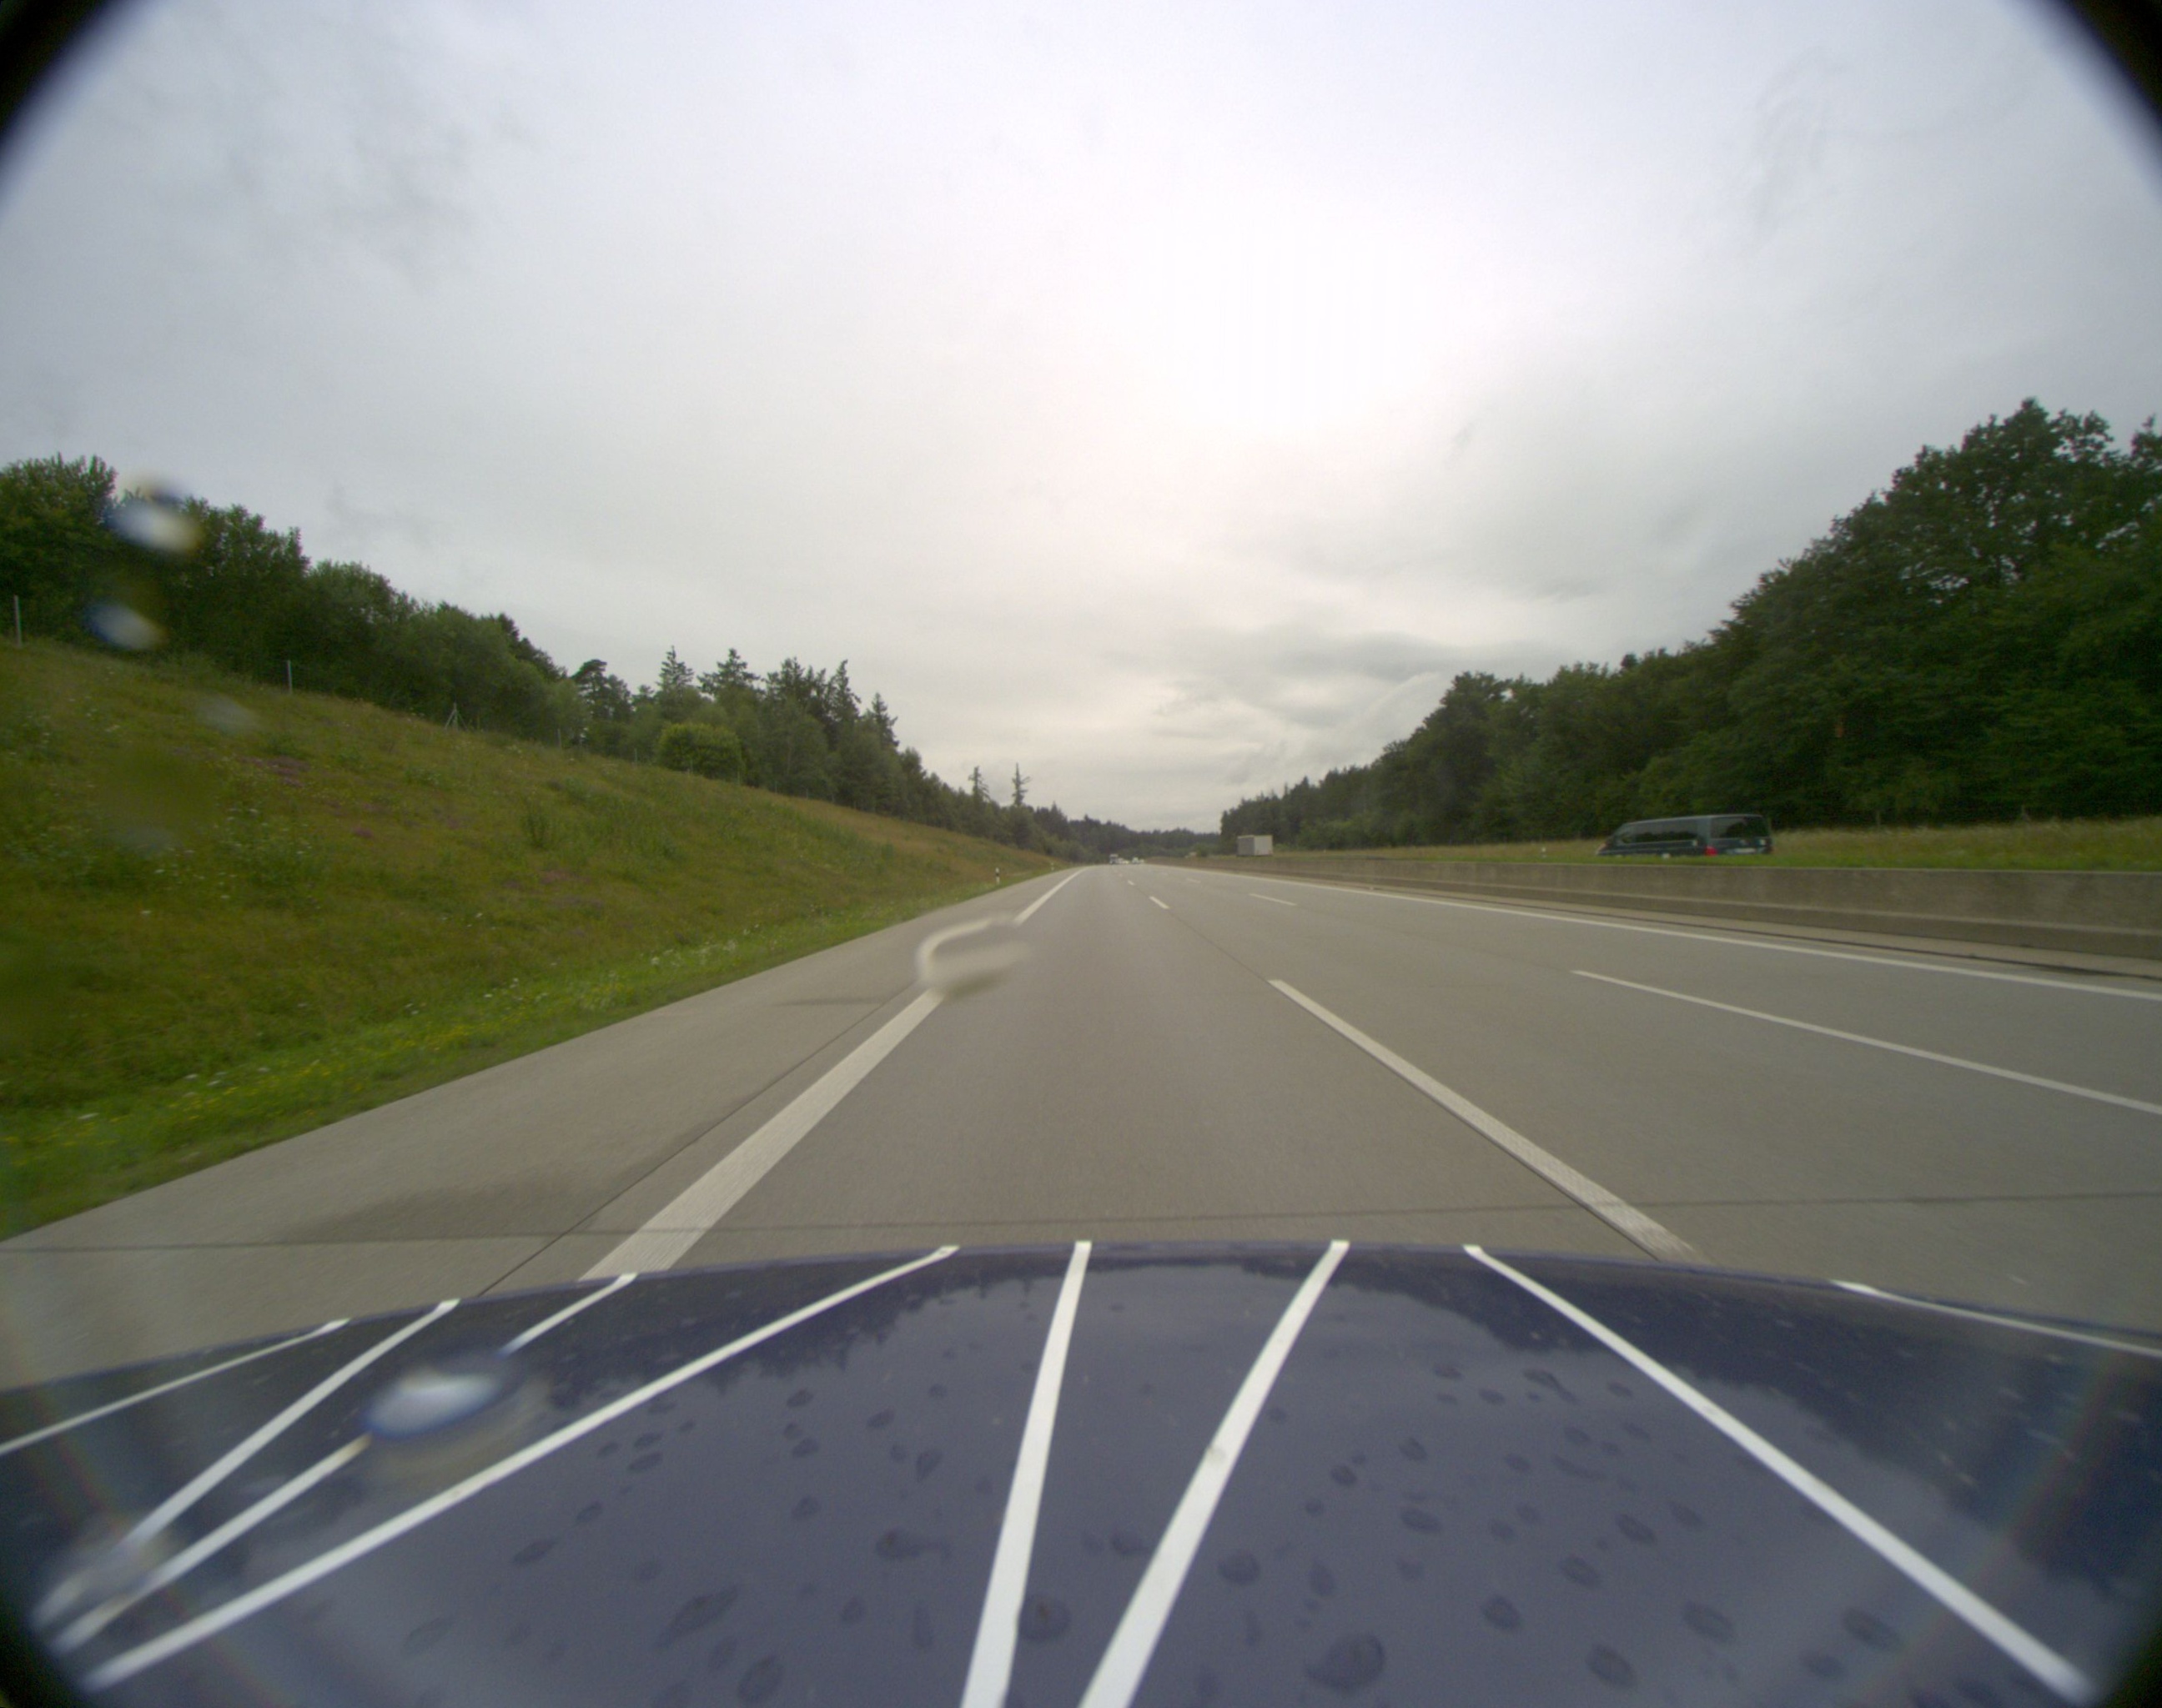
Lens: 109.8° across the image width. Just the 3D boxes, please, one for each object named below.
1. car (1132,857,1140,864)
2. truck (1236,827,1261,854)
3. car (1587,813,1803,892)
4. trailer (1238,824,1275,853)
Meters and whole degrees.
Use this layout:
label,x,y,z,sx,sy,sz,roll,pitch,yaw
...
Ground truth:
label,x,y,z,sx,sy,sz,roll,pitch,yaw
car,17.147,1.900,235.328,2.213,2.001,4.836,-3,-1,2
truck,26.707,-2.130,121.421,2.810,4.004,6.084,-2,0,2
car,17.883,-0.056,22.617,2.067,2.002,5.427,-2,0,1
trailer,26.457,-2.165,115.163,2.817,3.996,13.990,-2,0,2
